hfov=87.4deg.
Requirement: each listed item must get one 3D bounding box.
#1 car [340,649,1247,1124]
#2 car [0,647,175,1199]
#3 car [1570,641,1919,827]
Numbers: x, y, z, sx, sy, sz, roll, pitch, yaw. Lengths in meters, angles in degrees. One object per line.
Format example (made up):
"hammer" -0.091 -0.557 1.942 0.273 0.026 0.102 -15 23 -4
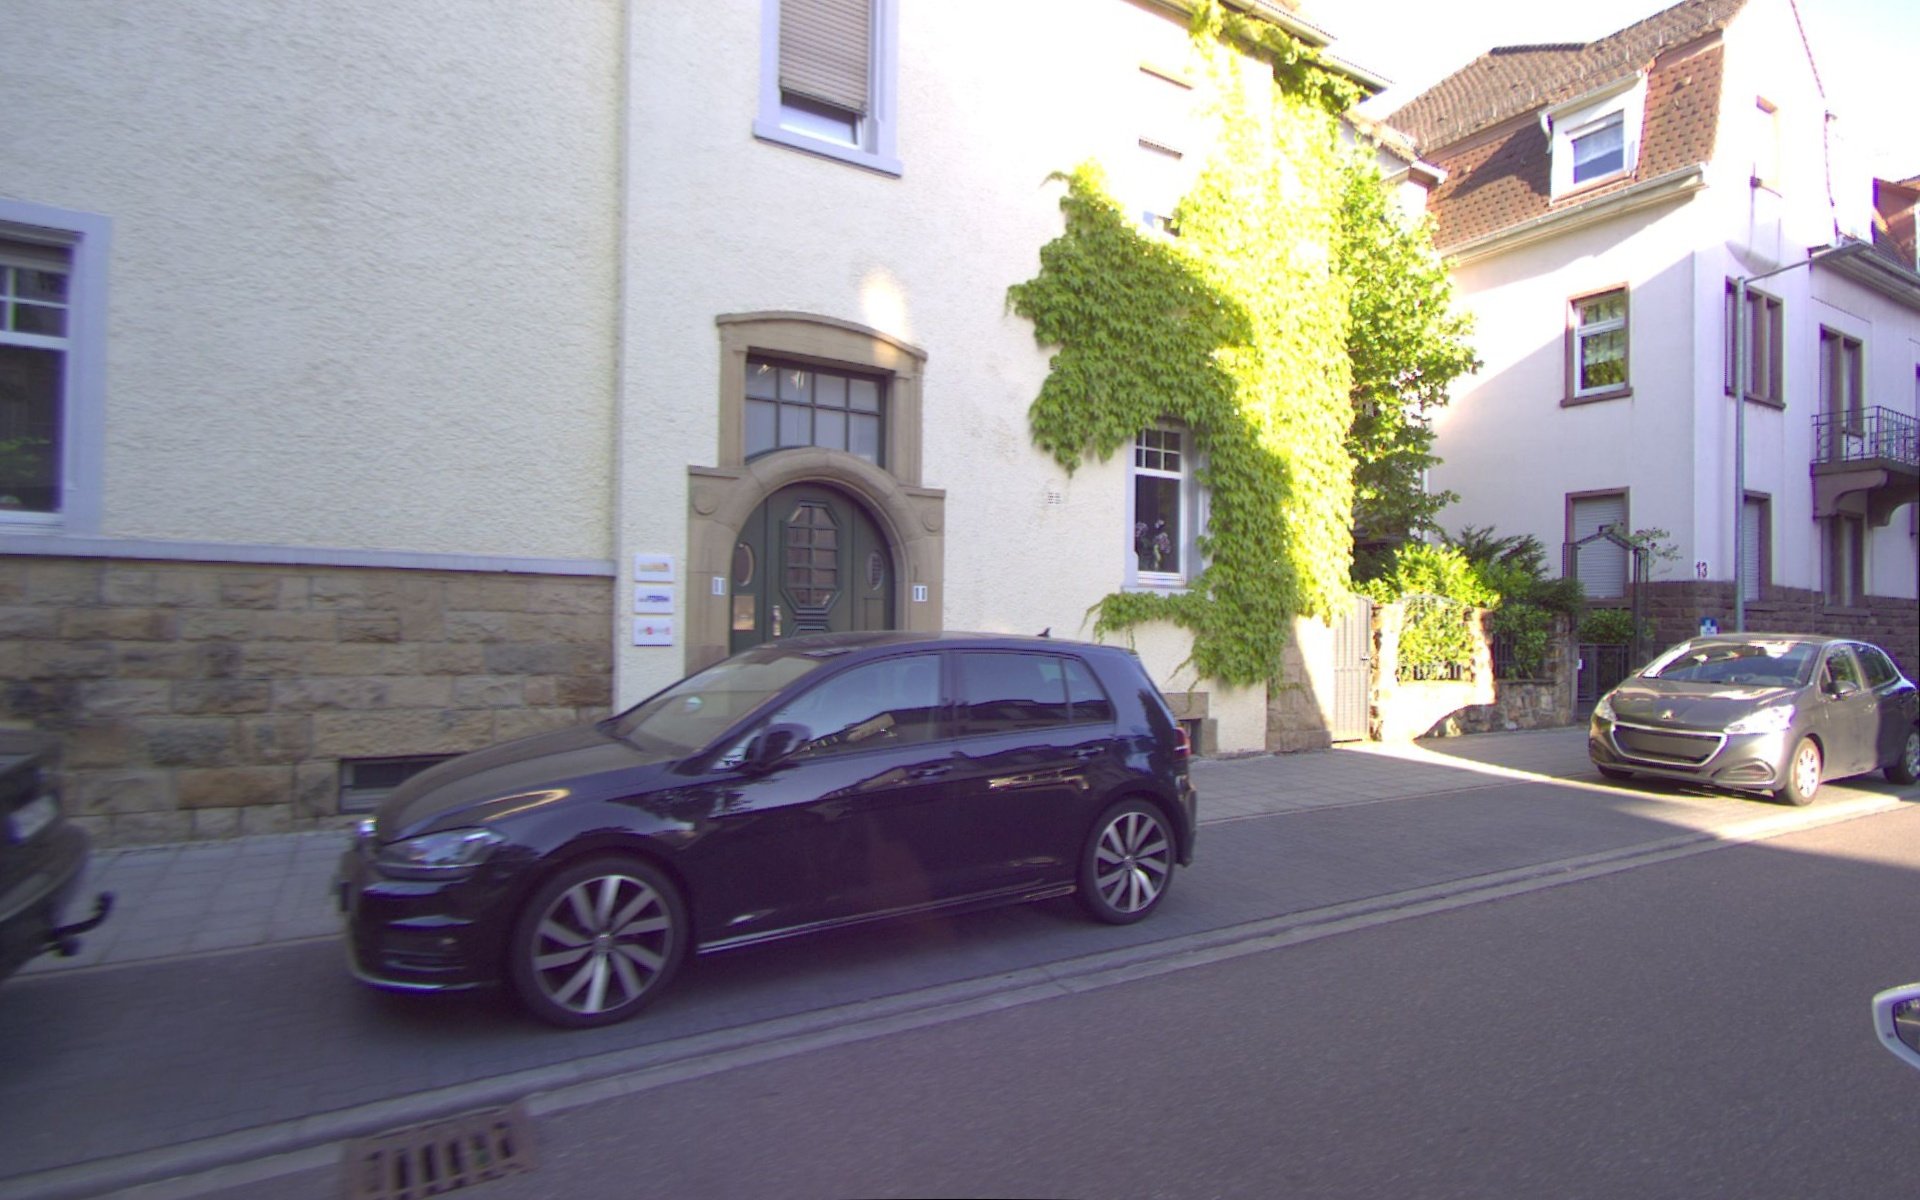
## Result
"car" -0.643 1.005 5.014 4.120 1.434 1.645 1 -1 -32
"car" -4.889 0.901 2.375 4.583 1.489 1.700 1 -1 -33
"car" 7.990 1.169 9.975 3.958 1.466 1.645 1 -1 -31
